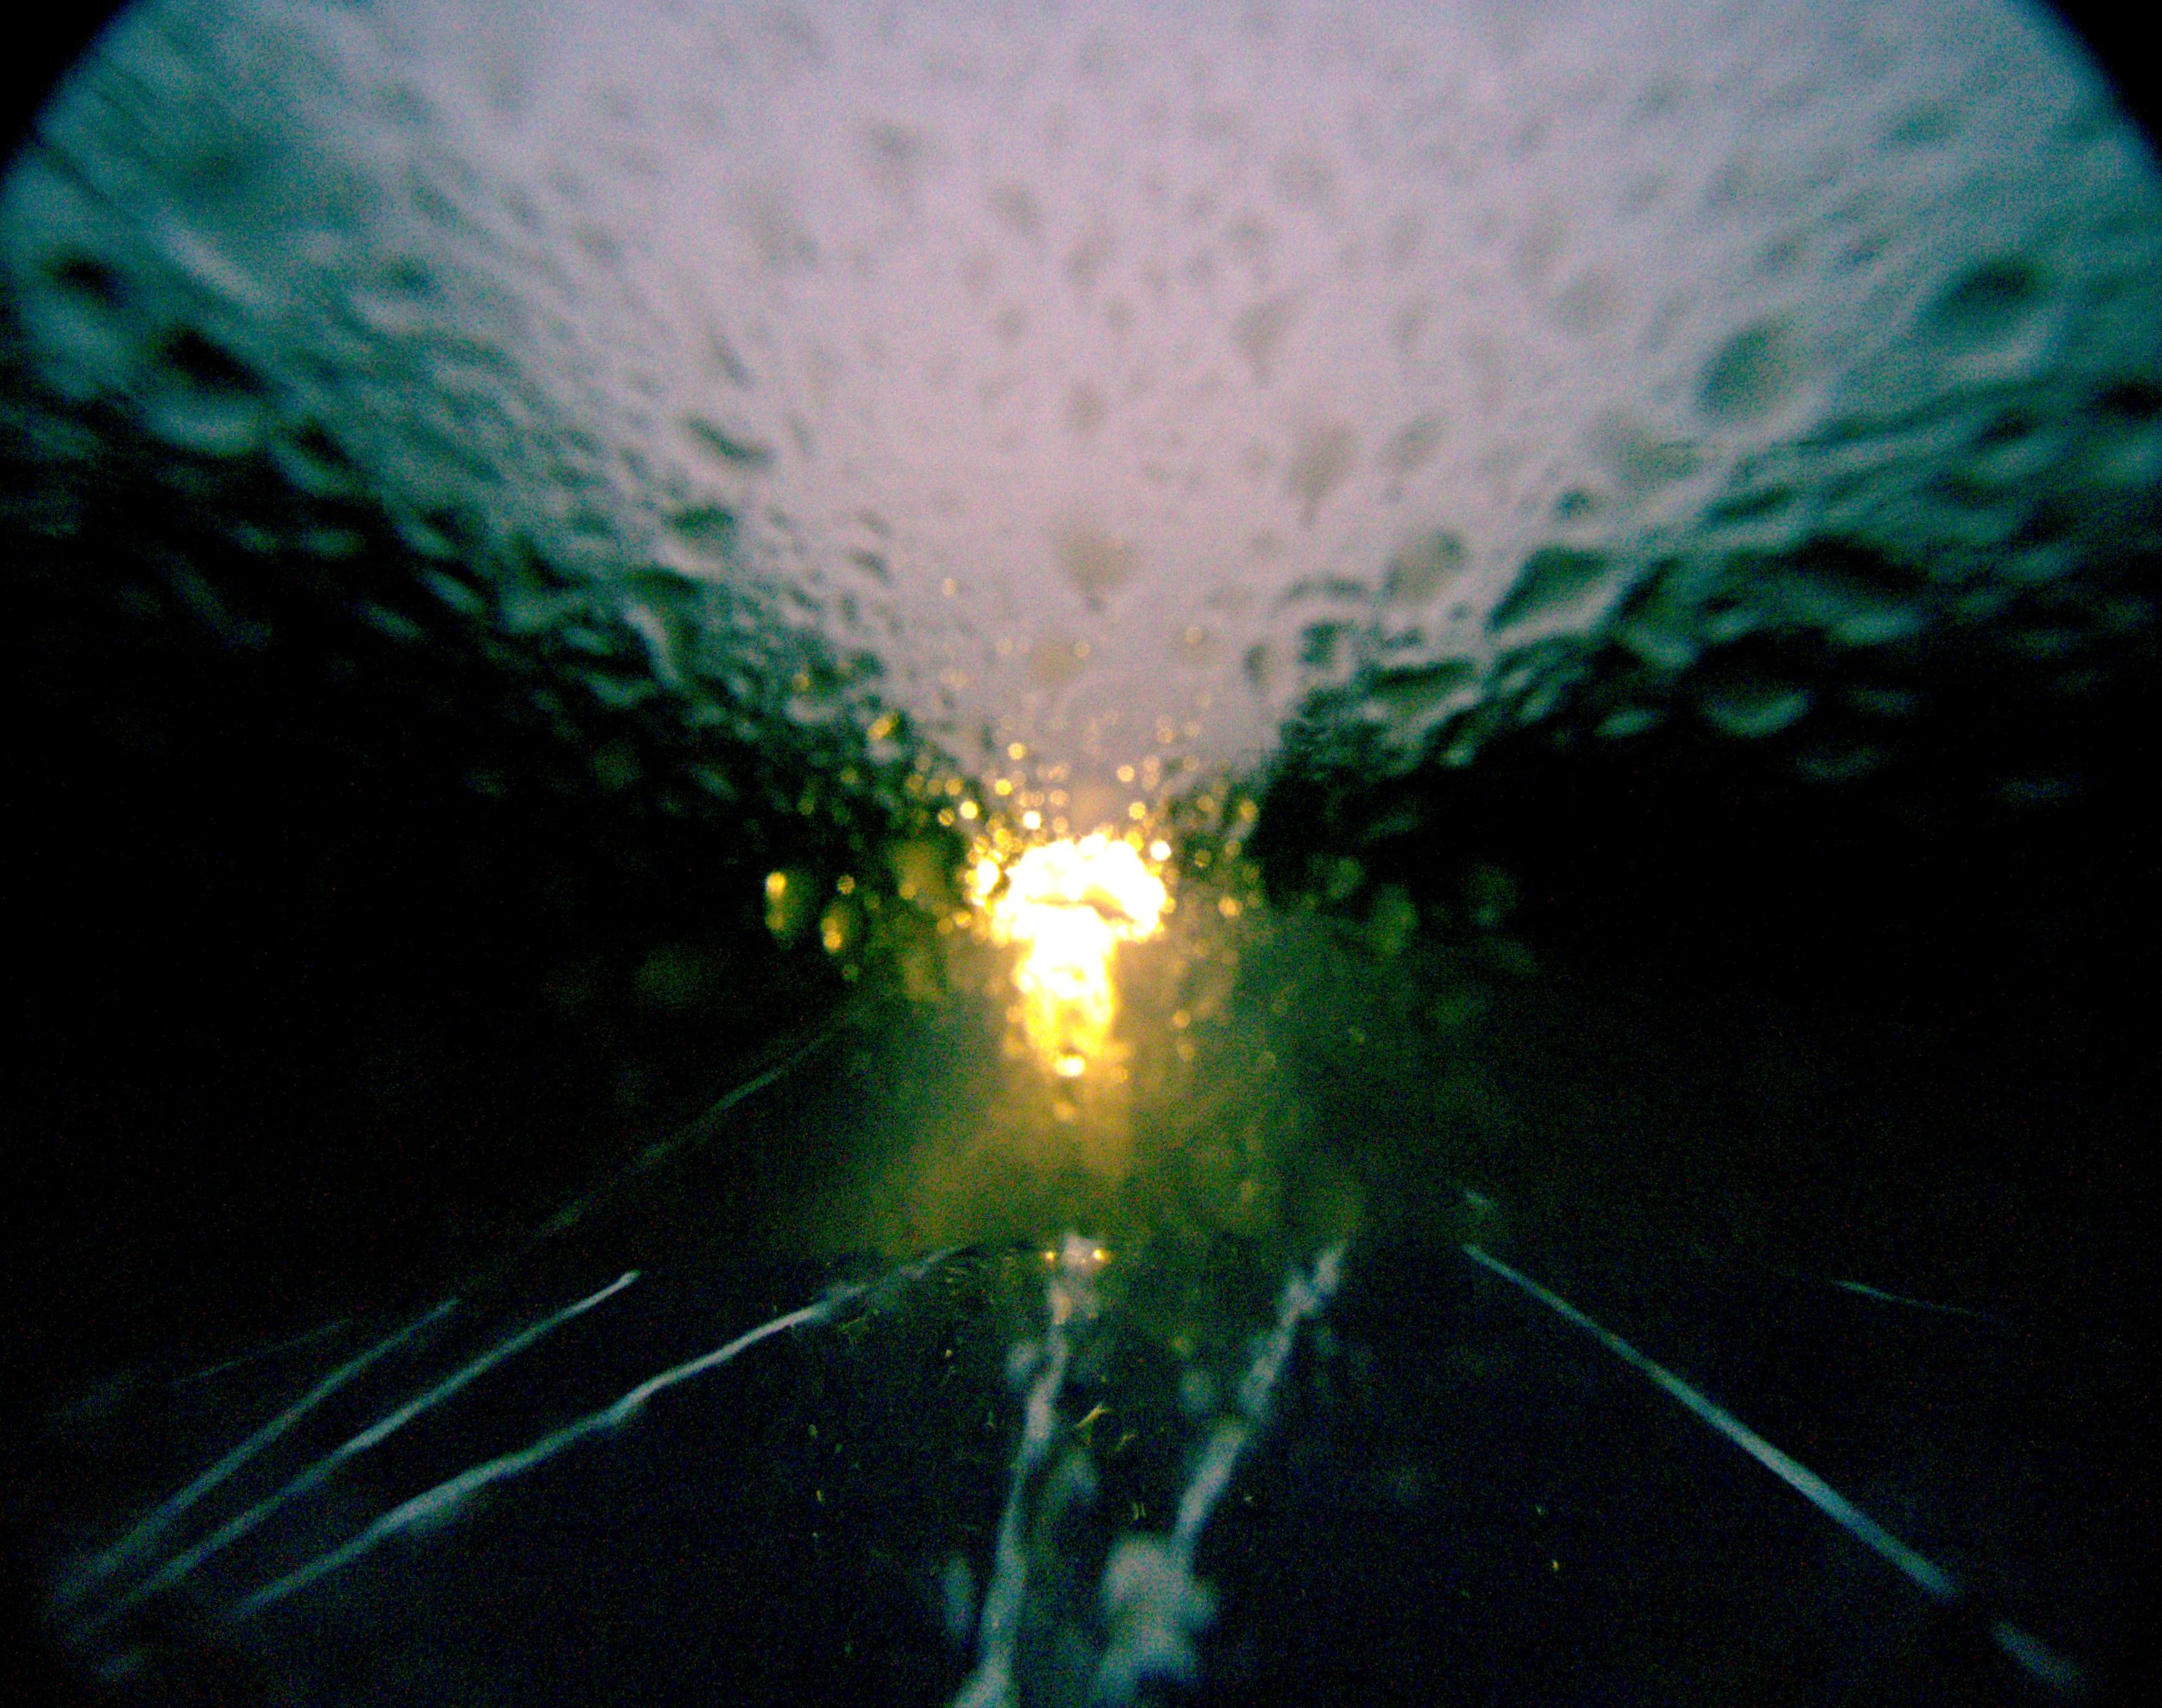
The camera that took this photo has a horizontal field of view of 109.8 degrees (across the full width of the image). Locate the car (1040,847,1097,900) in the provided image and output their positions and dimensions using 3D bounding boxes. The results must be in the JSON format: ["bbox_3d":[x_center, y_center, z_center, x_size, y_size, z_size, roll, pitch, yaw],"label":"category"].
[{"bbox_3d":[-0.379,0.620,27.023,1.572,1.701,4.001,-1,1,5],"label":"car"}]

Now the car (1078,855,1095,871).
[{"bbox_3d":[0.669,1.100,90.769,1.998,1.752,4.371,-1,1,1],"label":"car"}]
